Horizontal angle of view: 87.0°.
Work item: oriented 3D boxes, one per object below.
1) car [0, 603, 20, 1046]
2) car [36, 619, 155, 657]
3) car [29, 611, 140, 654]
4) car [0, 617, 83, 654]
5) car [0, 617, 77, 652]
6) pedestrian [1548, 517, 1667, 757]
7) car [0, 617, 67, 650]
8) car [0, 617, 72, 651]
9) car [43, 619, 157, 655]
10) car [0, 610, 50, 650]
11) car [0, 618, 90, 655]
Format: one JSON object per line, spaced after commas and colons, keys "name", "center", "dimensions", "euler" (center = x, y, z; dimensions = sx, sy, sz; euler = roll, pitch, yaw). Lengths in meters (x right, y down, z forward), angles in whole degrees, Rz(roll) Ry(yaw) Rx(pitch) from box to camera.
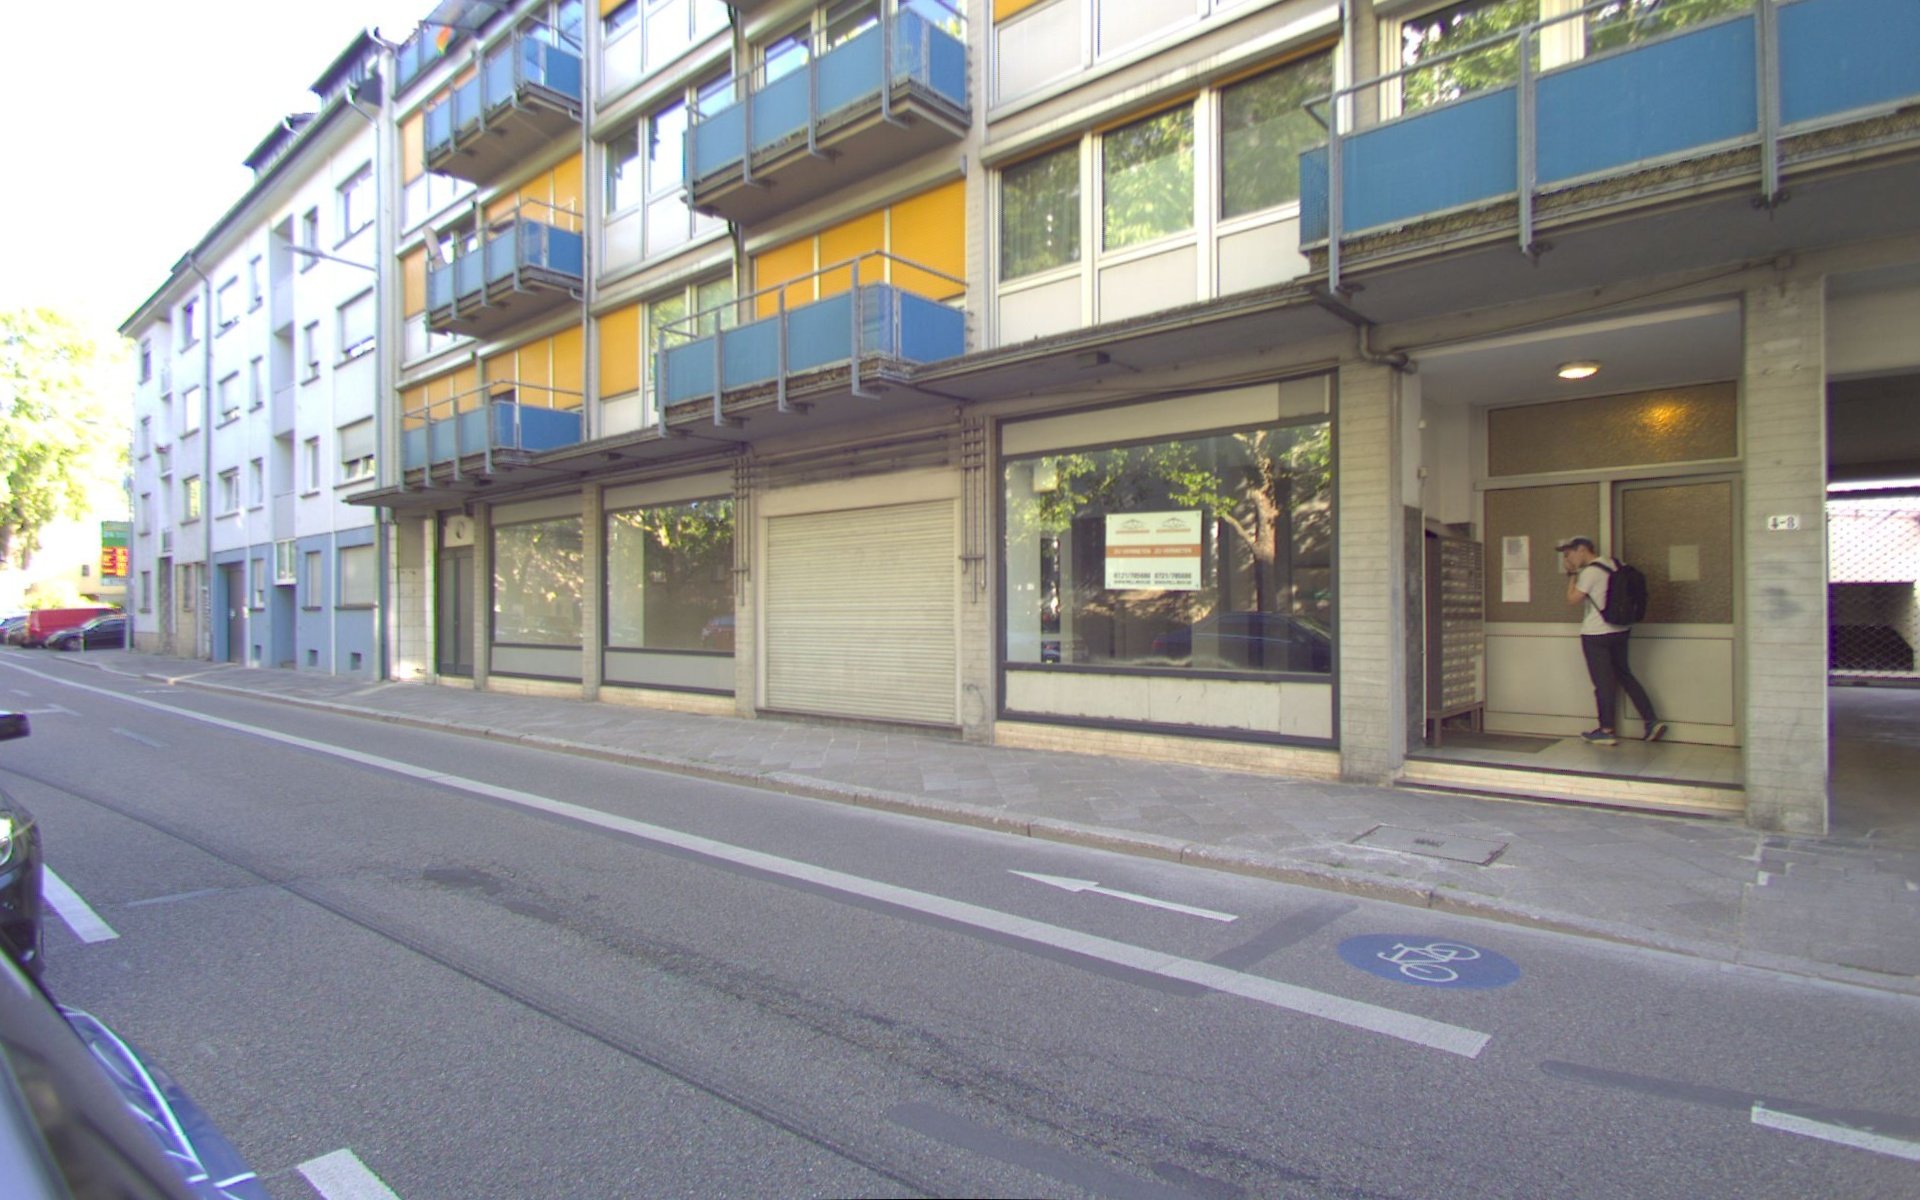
{"name": "car", "center": [-5.533, 0.806, 4.279], "dimensions": [4.479, 1.512, 1.842], "euler": [-1, -1, 41]}
{"name": "car", "center": [-39.767, 1.726, 46.605], "dimensions": [2.000, 1.564, 3.944], "euler": [-1, 0, 42]}
{"name": "car", "center": [-43.441, 1.575, 50.251], "dimensions": [2.000, 1.962, 3.944], "euler": [-1, 0, 42]}
{"name": "car", "center": [-53.532, 2.038, 58.611], "dimensions": [2.000, 1.962, 3.944], "euler": [-1, 0, 42]}
{"name": "car", "center": [-55.613, 2.065, 60.564], "dimensions": [2.000, 1.962, 3.944], "euler": [-1, 0, 42]}
{"name": "pedestrian", "center": [5.398, 0.295, 8.438], "dimensions": [0.785, 1.894, 0.575], "euler": [-1, 0, 35]}
{"name": "car", "center": [-59.218, 2.112, 64.015], "dimensions": [2.000, 1.962, 3.944], "euler": [-1, 0, 42]}
{"name": "car", "center": [-57.418, 2.088, 62.282], "dimensions": [2.000, 1.962, 3.944], "euler": [-1, 0, 42]}
{"name": "car", "center": [-41.186, 1.745, 48.526], "dimensions": [2.000, 1.564, 3.944], "euler": [-1, 0, 42]}
{"name": "car", "center": [-62.810, 1.959, 66.784], "dimensions": [2.000, 2.538, 3.944], "euler": [-1, 0, 42]}
{"name": "car", "center": [-51.581, 2.013, 56.829], "dimensions": [2.000, 1.962, 3.944], "euler": [-1, 0, 42]}
